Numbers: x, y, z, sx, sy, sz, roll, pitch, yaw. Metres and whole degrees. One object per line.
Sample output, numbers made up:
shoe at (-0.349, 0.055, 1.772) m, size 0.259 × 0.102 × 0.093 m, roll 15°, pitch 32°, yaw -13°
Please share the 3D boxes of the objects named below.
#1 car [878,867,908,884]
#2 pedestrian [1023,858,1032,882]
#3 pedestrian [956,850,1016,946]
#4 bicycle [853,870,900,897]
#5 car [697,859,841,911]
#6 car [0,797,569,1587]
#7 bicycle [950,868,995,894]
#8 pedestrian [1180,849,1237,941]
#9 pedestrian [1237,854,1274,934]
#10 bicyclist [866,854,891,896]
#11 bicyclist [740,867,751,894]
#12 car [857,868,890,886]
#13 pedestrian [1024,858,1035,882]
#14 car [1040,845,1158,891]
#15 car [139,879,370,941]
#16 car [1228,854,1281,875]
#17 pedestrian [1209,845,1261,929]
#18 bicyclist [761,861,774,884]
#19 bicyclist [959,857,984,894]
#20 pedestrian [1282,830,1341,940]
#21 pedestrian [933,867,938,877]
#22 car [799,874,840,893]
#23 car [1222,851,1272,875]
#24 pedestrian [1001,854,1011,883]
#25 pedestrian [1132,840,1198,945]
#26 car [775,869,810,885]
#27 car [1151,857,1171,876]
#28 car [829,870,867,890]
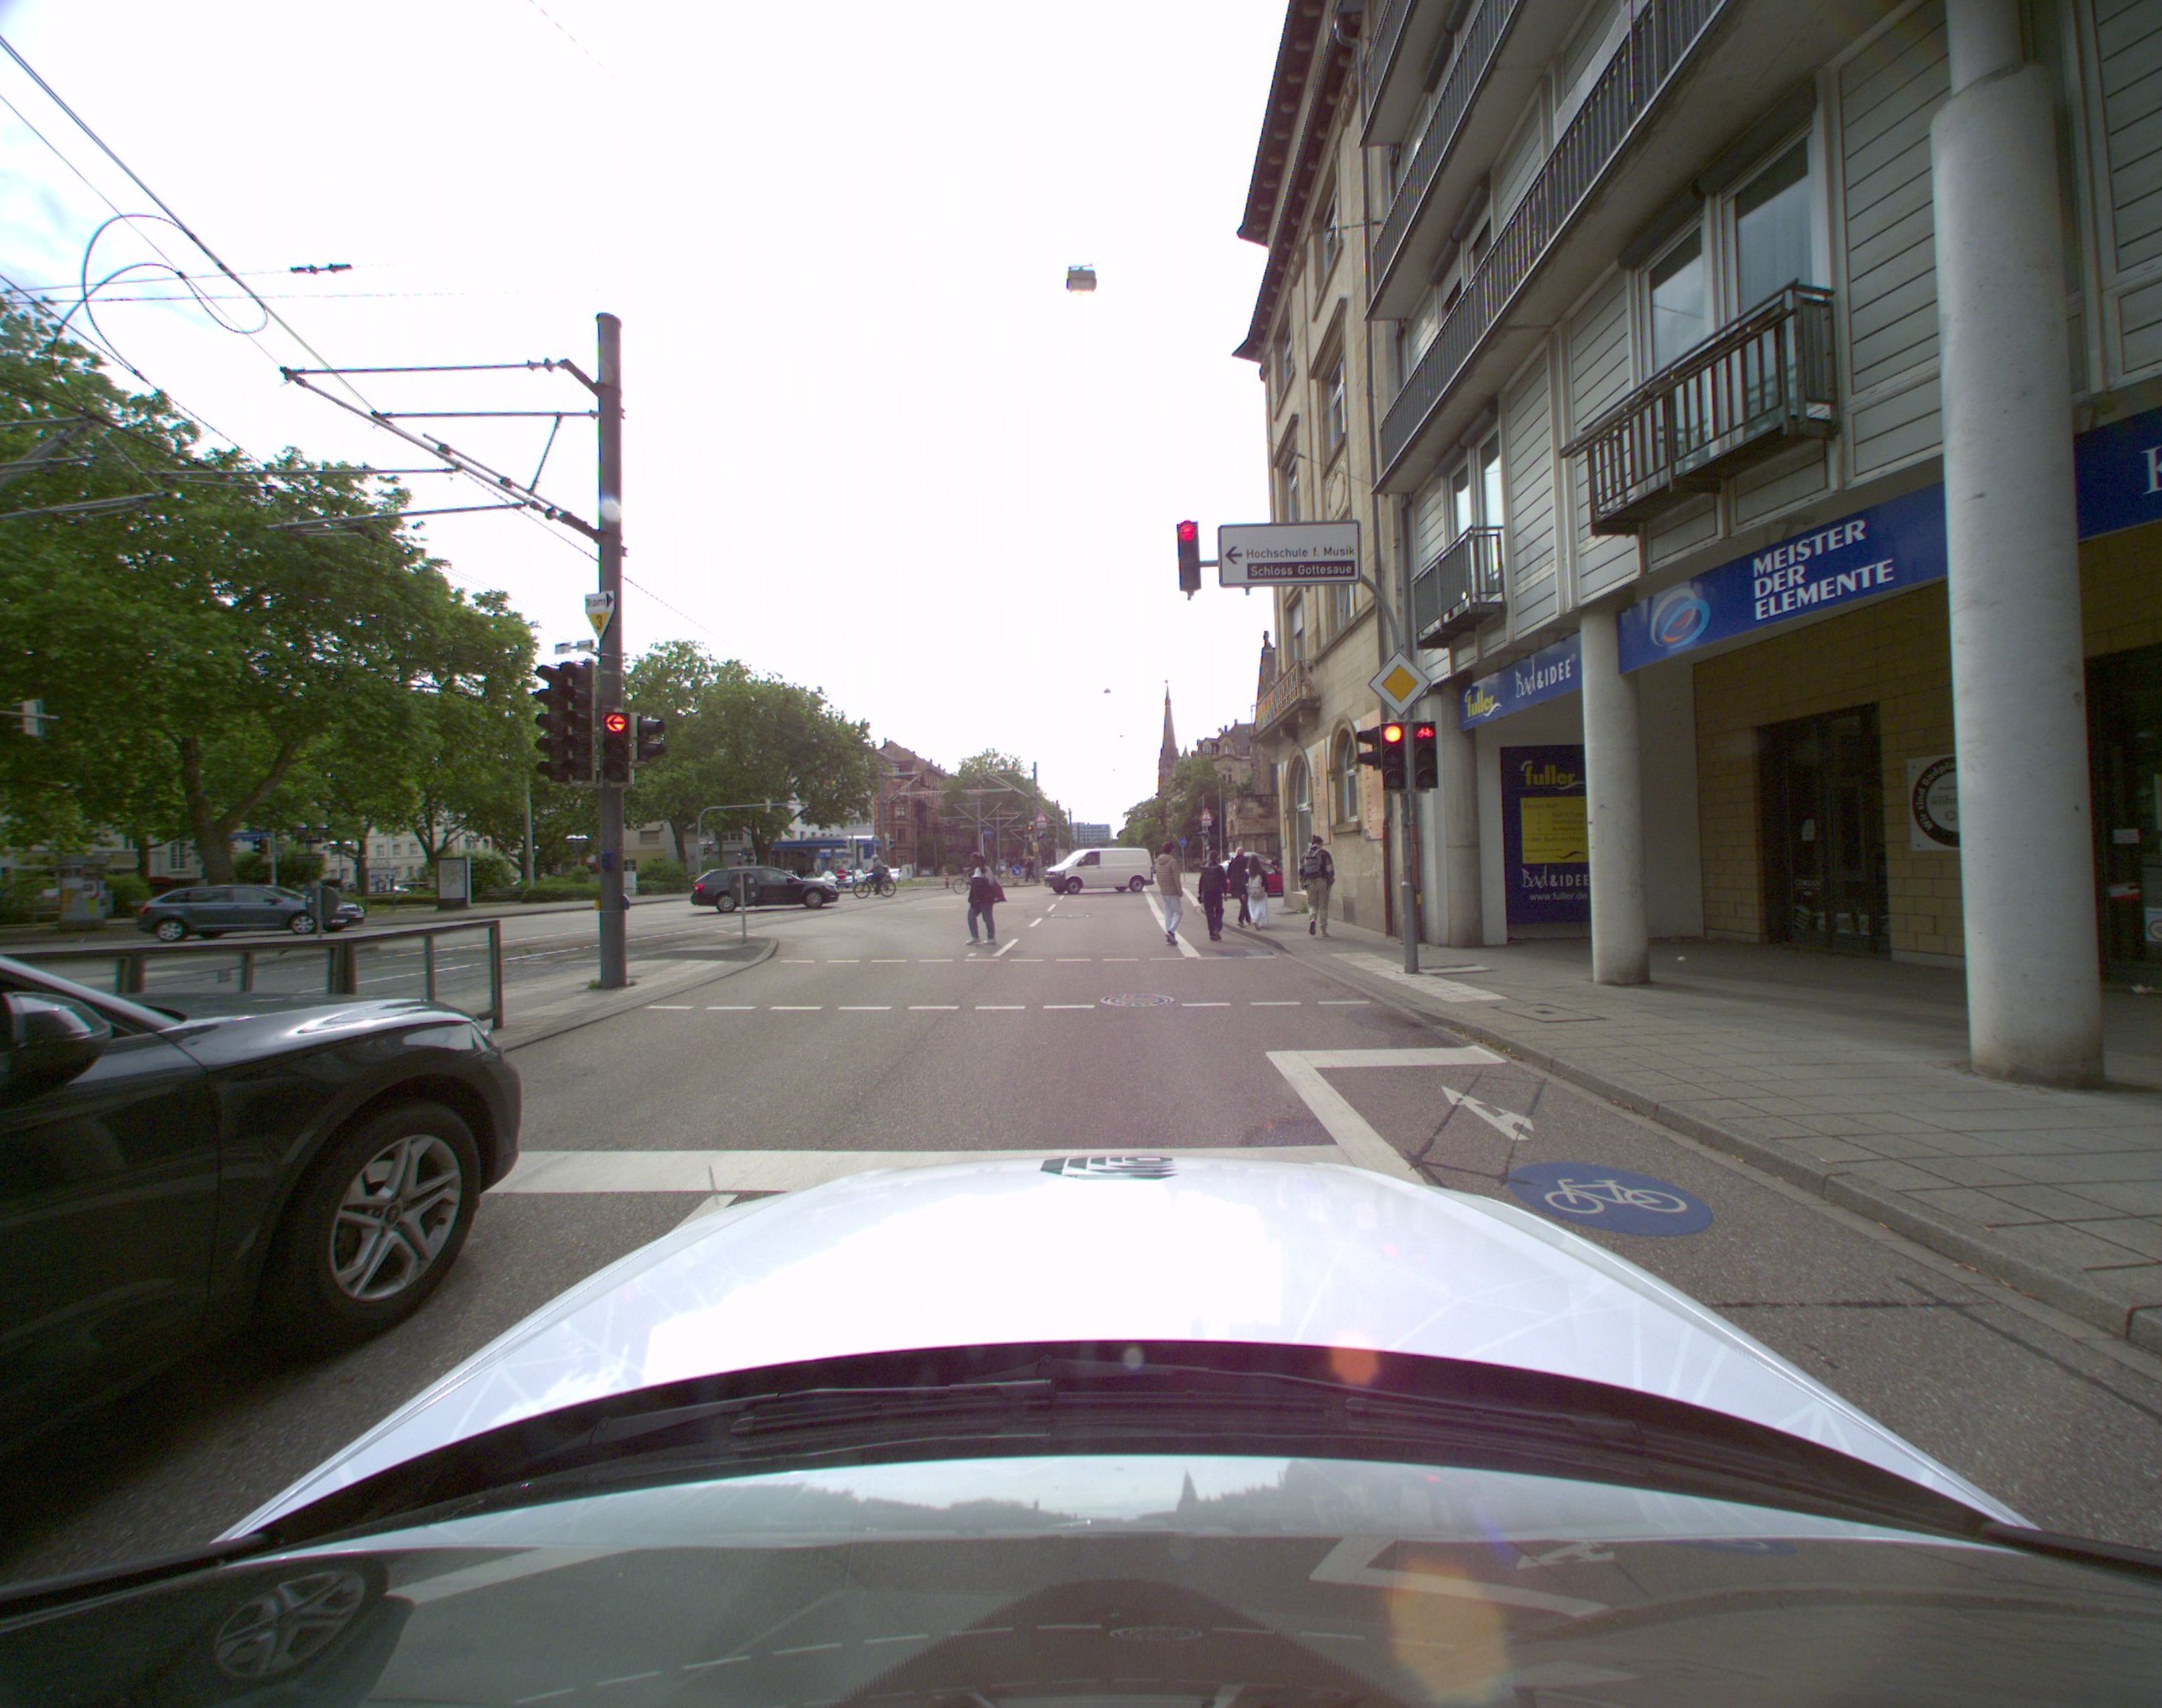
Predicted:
car at (-18.422, 2.101, 79.939) m, size 1.887 × 1.557 × 3.837 m, roll 0°, pitch -1°, yaw 2°
pedestrian at (-3.434, 1.056, 52.488) m, size 0.544 × 1.537 × 0.465 m, roll 0°, pitch -1°, yaw -3°
pedestrian at (-1.729, 0.774, 14.840) m, size 0.663 × 1.680 × 0.874 m, roll -1°, pitch -1°, yaw 40°
bicycle at (-8.911, 1.271, 35.577) m, size 1.910 × 1.142 × 0.623 m, roll 0°, pitch -1°, yaw -28°
car at (-10.370, 0.983, 27.160) m, size 4.346 × 1.586 × 1.797 m, roll 0°, pitch -1°, yaw -24°
car at (-3.145, 0.695, 1.261) m, size 1.873 × 1.601 × 4.358 m, roll -1°, pitch -1°, yaw 1°
bicycle at (-5.020, 1.238, 37.653) m, size 1.943 × 1.136 × 0.731 m, roll 0°, pitch -1°, yaw -19°
pedestrian at (2.393, 0.747, 15.214) m, size 0.620 × 1.653 × 1.003 m, roll -1°, pitch -1°, yaw 39°
pedestrian at (3.559, 0.801, 16.680) m, size 0.696 × 1.593 × 0.833 m, roll 0°, pitch -1°, yaw 10°
bicyclist at (-8.843, 0.893, 35.566) m, size 0.970 × 1.819 × 0.527 m, roll 0°, pitch -1°, yaw -27°
bicyclist at (-22.761, 1.780, 55.204) m, size 0.528 × 1.784 × 0.472 m, roll -1°, pitch -1°, yaw 21°
car at (-18.583, 2.019, 72.956) m, size 1.887 × 1.557 × 3.837 m, roll 0°, pitch -1°, yaw 2°
pedestrian at (-3.277, 1.030, 51.888) m, size 0.651 × 1.537 × 0.465 m, roll 0°, pitch -1°, yaw -3°
car at (0.798, 0.606, 36.170) m, size 4.886 × 1.967 × 1.973 m, roll 0°, pitch -1°, yaw -24°
car at (-22.341, 1.472, 22.243) m, size 3.997 × 1.469 × 1.827 m, roll 0°, pitch -1°, yaw -23°
car at (13.755, 0.818, 64.731) m, size 3.785 × 1.601 × 2.001 m, roll 0°, pitch -1°, yaw 1°
pedestrian at (3.354, 0.701, 17.746) m, size 0.906 × 1.784 × 0.651 m, roll -1°, pitch -1°, yaw 39°
bicyclist at (-21.541, 1.234, 55.939) m, size 0.585 × 1.568 × 0.619 m, roll 0°, pitch -1°, yaw 1°
bicyclist at (-5.046, 0.966, 37.614) m, size 1.041 × 1.683 × 0.641 m, roll 0°, pitch -1°, yaw -19°
pedestrian at (3.958, 0.510, 13.919) m, size 0.620 × 1.778 × 1.141 m, roll -5°, pitch -2°, yaw 27°
pedestrian at (-21.231, 2.662, 118.991) m, size 0.447 × 1.460 × 0.529 m, roll -1°, pitch -1°, yaw 41°
car at (-19.135, 2.130, 59.778) m, size 1.628 × 1.325 × 4.001 m, roll 0°, pitch -1°, yaw 2°
car at (13.866, 0.751, 68.142) m, size 3.785 × 1.904 × 2.001 m, roll 0°, pitch -1°, yaw 1°
pedestrian at (-4.602, 0.892, 49.788) m, size 0.571 × 1.794 × 0.518 m, roll 0°, pitch -1°, yaw -3°
pedestrian at (1.502, 0.665, 14.540) m, size 1.015 × 1.813 × 0.580 m, roll 0°, pitch -1°, yaw -22°
car at (-28.741, 2.253, 81.326) m, size 1.986 × 1.530 × 4.001 m, roll 0°, pitch -1°, yaw 2°
car at (8.815, 1.396, 90.052) m, size 1.986 × 2.014 × 4.001 m, roll 0°, pitch -1°, yaw 1°
car at (-18.811, 2.106, 65.987) m, size 1.887 × 1.557 × 3.837 m, roll 0°, pitch -1°, yaw 2°
